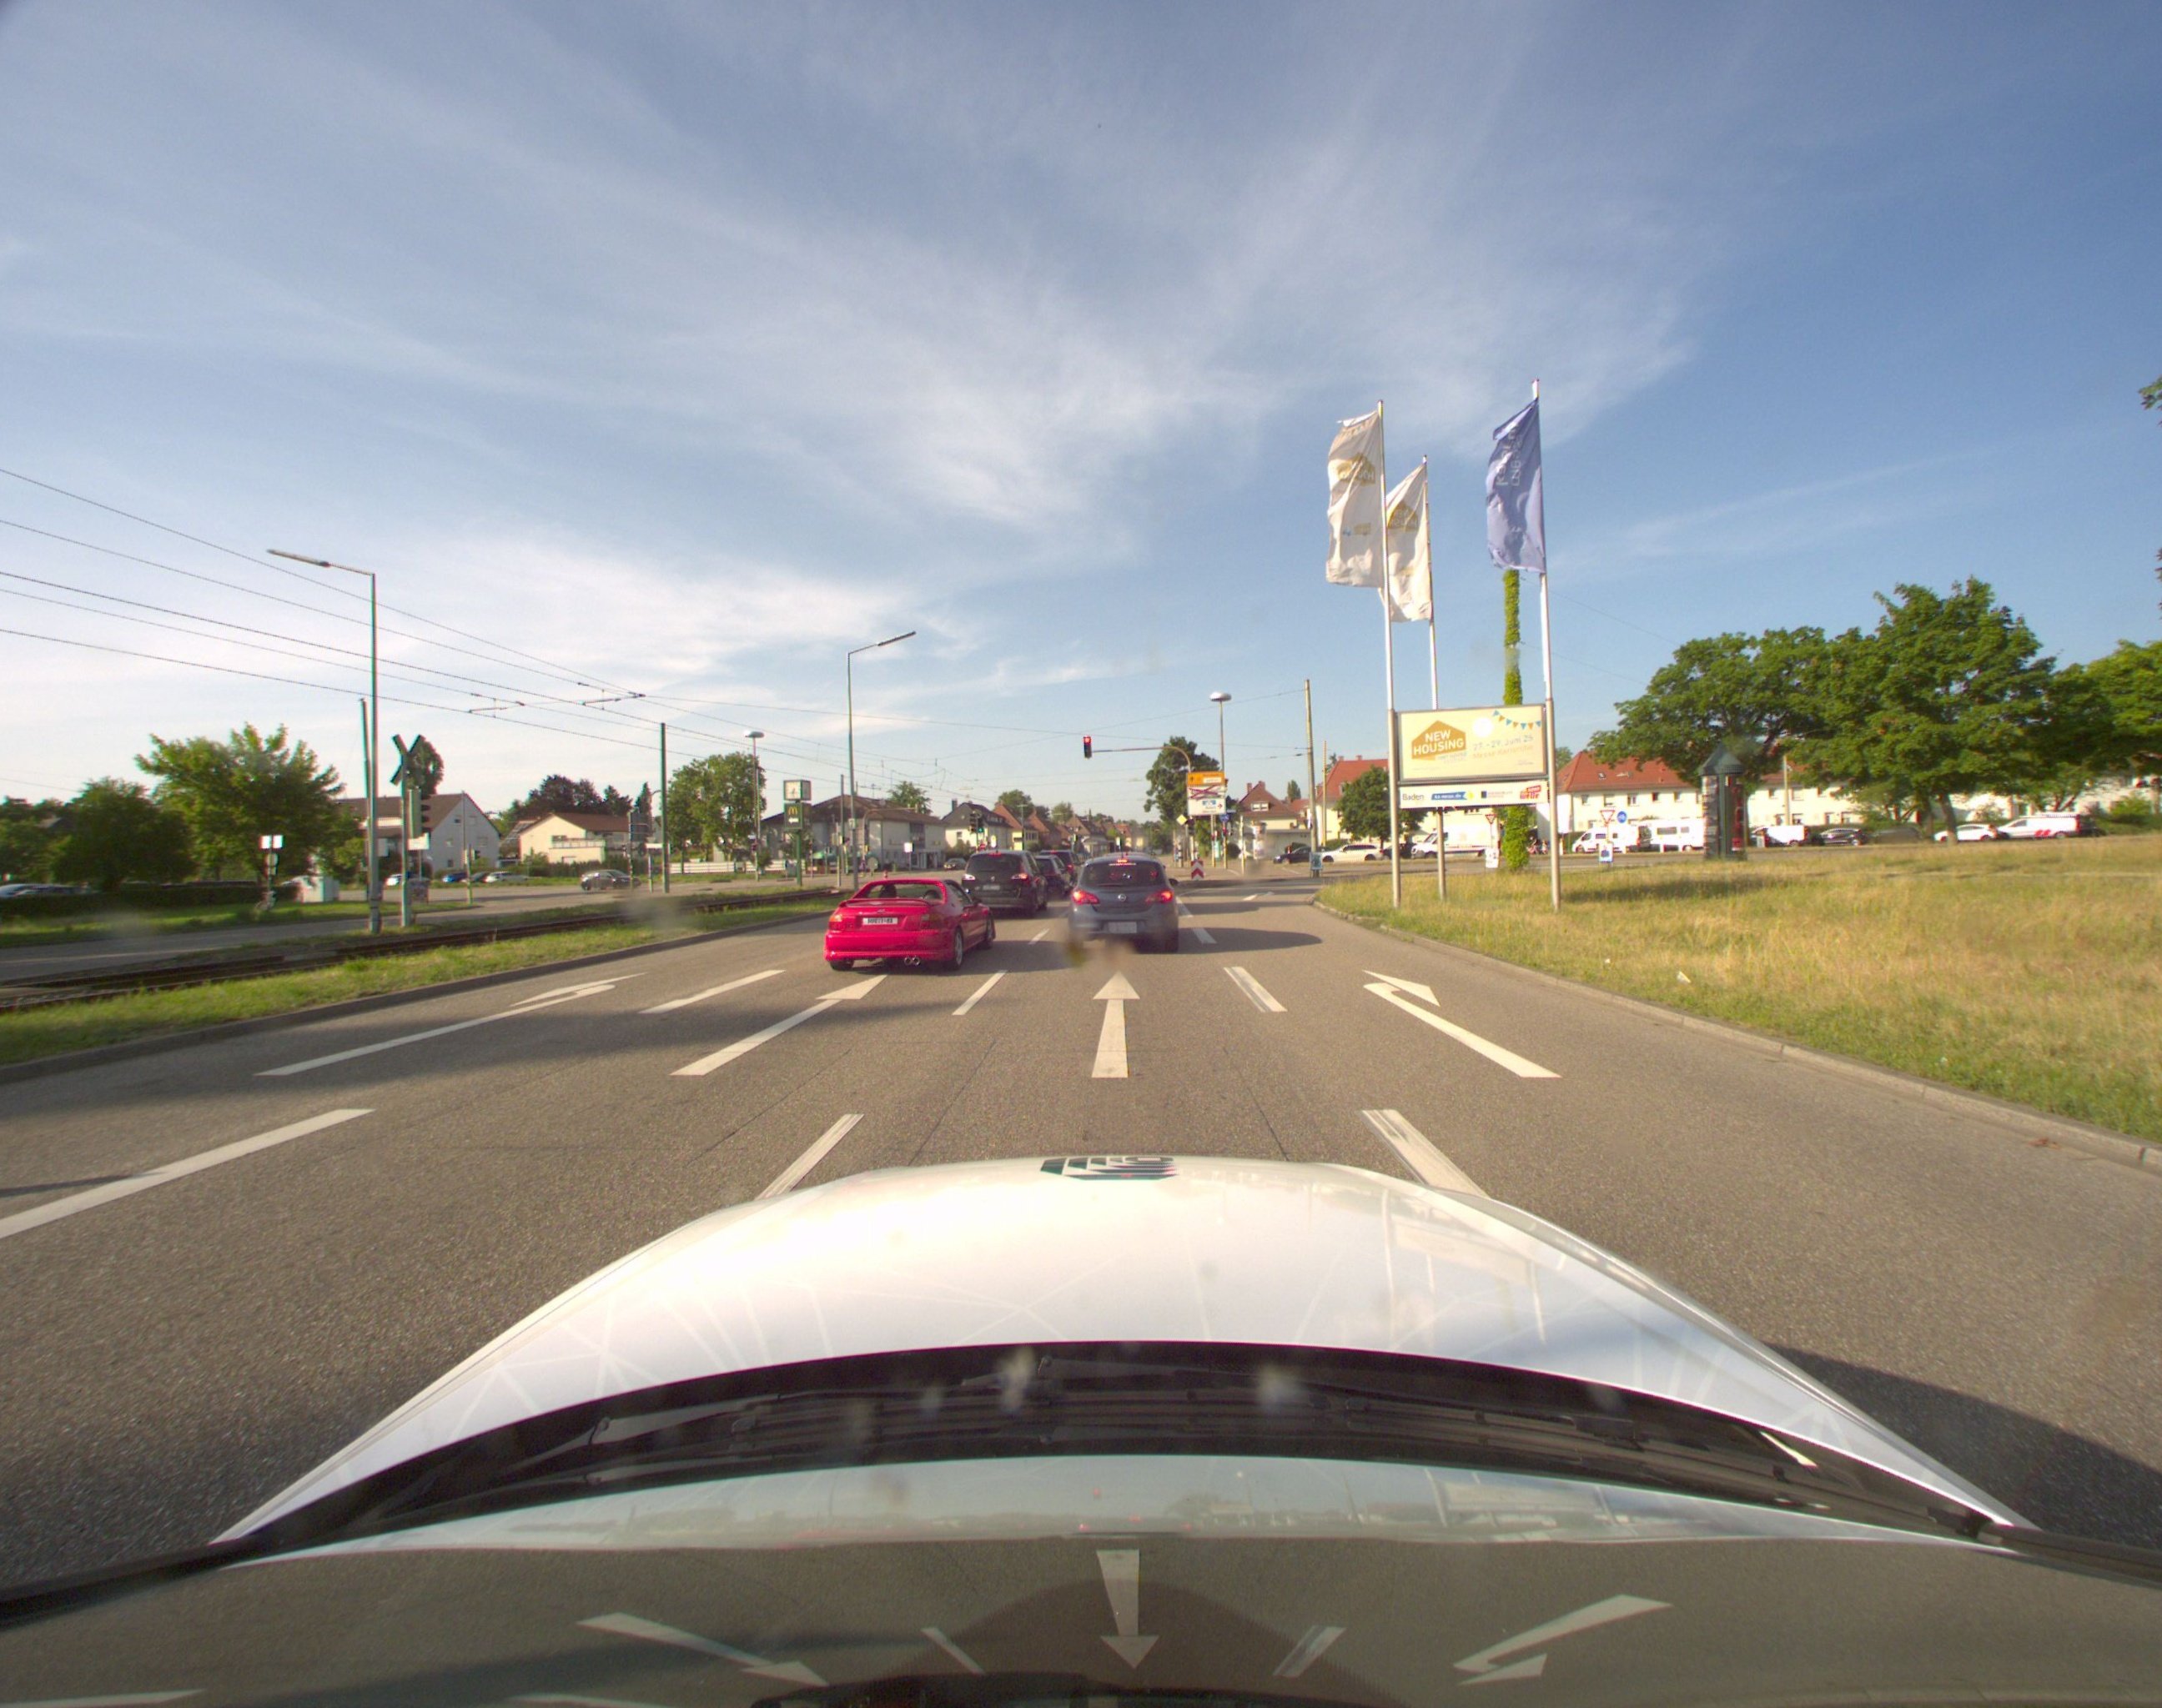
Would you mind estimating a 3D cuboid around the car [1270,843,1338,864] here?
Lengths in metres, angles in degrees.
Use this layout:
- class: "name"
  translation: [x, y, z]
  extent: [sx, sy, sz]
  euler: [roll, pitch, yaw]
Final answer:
- class: "car"
  translation: [17.124, -0.047, 62.611]
  extent: [4.799, 1.411, 1.719]
  euler: [-2, 0, 6]

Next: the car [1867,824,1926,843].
- class: "car"
  translation: [71.931, -1.796, 71.882]
  extent: [1.905, 1.514, 3.395]
  euler: [-2, 0, -36]

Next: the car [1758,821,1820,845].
- class: "car"
  translation: [62.455, -1.848, 71.866]
  extent: [1.906, 1.920, 3.863]
  euler: [-2, 0, -40]

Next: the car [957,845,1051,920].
- class: "car"
  translation: [-1.828, 0.636, 20.518]
  extent: [1.756, 1.670, 4.087]
  euler: [-1, 0, 3]

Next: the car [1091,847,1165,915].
- class: "car"
  translation: [1.216, 0.636, 21.333]
  extent: [1.699, 1.551, 3.981]
  euler: [-2, 0, 3]

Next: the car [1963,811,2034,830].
- class: "car"
  translation: [94.842, -3.428, 84.296]
  extent: [1.984, 1.719, 4.987]
  euler: [-2, 0, 5]

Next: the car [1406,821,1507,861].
- class: "car"
  translation: [26.707, -0.928, 58.143]
  extent: [6.177, 2.583, 2.003]
  euler: [-2, 0, 5]

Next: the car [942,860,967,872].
- class: "car"
  translation: [-15.163, 1.458, 97.749]
  extent: [1.653, 1.345, 4.089]
  euler: [-2, -1, 11]

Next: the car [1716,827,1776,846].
- class: "car"
  translation: [59.069, -1.528, 72.341]
  extent: [1.907, 1.456, 3.861]
  euler: [-2, 0, -43]

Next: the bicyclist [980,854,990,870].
- class: "bicyclist"
  translation: [-8.999, 0.766, 76.278]
  extent: [0.882, 1.431, 1.135]
  euler: [0, -1, -3]

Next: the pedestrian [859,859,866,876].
- class: "pedestrian"
  translation: [-20.838, 1.285, 77.667]
  extent: [0.509, 1.599, 0.540]
  euler: [-2, 0, 3]

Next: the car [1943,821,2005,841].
- class: "car"
  translation: [76.433, -1.941, 69.728]
  extent: [1.905, 1.514, 3.395]
  euler: [-2, 0, -36]

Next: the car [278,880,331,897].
- class: "car"
  translation: [-78.325, 3.481, 82.134]
  extent: [3.959, 1.486, 2.008]
  euler: [-2, 0, 13]

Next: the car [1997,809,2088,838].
- class: "car"
  translation: [82.227, -2.563, 69.707]
  extent: [2.010, 2.232, 4.920]
  euler: [-2, 0, -40]

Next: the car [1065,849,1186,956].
- class: "car"
  translation: [0.746, 0.703, 14.043]
  extent: [1.735, 1.505, 4.225]
  euler: [-2, 0, 2]

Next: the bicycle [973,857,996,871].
- class: "bicycle"
  translation: [-9.044, 0.921, 76.281]
  extent: [2.070, 1.348, 1.107]
  euler: [0, -1, -4]

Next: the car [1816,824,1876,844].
- class: "car"
  translation: [66.313, -1.729, 70.657]
  extent: [1.905, 1.514, 3.461]
  euler: [-2, 0, -36]

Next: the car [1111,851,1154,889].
- class: "car"
  translation: [2.161, 0.643, 34.336]
  extent: [1.649, 1.443, 4.018]
  euler: [-2, 0, 4]

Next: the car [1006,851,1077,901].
- class: "car"
  translation: [-1.253, 0.688, 28.006]
  extent: [1.691, 1.508, 4.562]
  euler: [-1, 0, 6]

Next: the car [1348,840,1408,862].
- class: "car"
  translation: [22.597, -0.235, 61.993]
  extent: [3.966, 1.453, 1.719]
  euler: [-2, 0, 6]

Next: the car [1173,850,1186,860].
- class: "car"
  translation: [13.038, 0.145, 107.745]
  extent: [1.666, 1.398, 4.007]
  euler: [0, -1, 6]

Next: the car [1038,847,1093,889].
- class: "car"
  translation: [-0.594, 0.550, 35.108]
  extent: [1.498, 1.651, 4.756]
  euler: [-2, 0, 9]

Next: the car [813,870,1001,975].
- class: "car"
  translation: [-2.353, 0.884, 12.041]
  extent: [1.724, 1.206, 3.851]
  euler: [0, 0, 4]

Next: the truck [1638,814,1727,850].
- class: "truck"
  translation: [52.978, -1.890, 71.857]
  extent: [1.906, 2.854, 6.007]
  euler: [-2, 0, -40]

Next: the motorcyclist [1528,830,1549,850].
- class: "motorcyclist"
  translation: [31.916, -0.955, 56.857]
  extent: [1.060, 1.352, 0.681]
  euler: [-2, 0, 5]

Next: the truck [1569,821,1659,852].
- class: "truck"
  translation: [46.951, -1.486, 71.959]
  extent: [2.284, 2.524, 6.298]
  euler: [-2, 1, -29]

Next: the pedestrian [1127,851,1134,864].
- class: "pedestrian"
  translation: [5.840, 0.435, 96.492]
  extent: [0.749, 1.499, 0.829]
  euler: [-1, -1, 8]

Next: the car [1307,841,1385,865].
- class: "car"
  translation: [19.062, -0.065, 58.801]
  extent: [5.068, 1.563, 1.843]
  euler: [-2, 0, 6]

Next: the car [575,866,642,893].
- class: "car"
  translation: [-34.046, 1.825, 58.724]
  extent: [3.965, 1.793, 1.523]
  euler: [-2, 0, 7]

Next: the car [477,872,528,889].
- class: "car"
  translation: [-62.253, 2.822, 87.761]
  extent: [1.980, 1.684, 4.234]
  euler: [-1, -1, 12]

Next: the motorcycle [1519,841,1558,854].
- class: "motorcycle"
  translation: [31.937, -0.441, 56.860]
  extent: [2.260, 0.866, 0.691]
  euler: [-2, 0, 4]
